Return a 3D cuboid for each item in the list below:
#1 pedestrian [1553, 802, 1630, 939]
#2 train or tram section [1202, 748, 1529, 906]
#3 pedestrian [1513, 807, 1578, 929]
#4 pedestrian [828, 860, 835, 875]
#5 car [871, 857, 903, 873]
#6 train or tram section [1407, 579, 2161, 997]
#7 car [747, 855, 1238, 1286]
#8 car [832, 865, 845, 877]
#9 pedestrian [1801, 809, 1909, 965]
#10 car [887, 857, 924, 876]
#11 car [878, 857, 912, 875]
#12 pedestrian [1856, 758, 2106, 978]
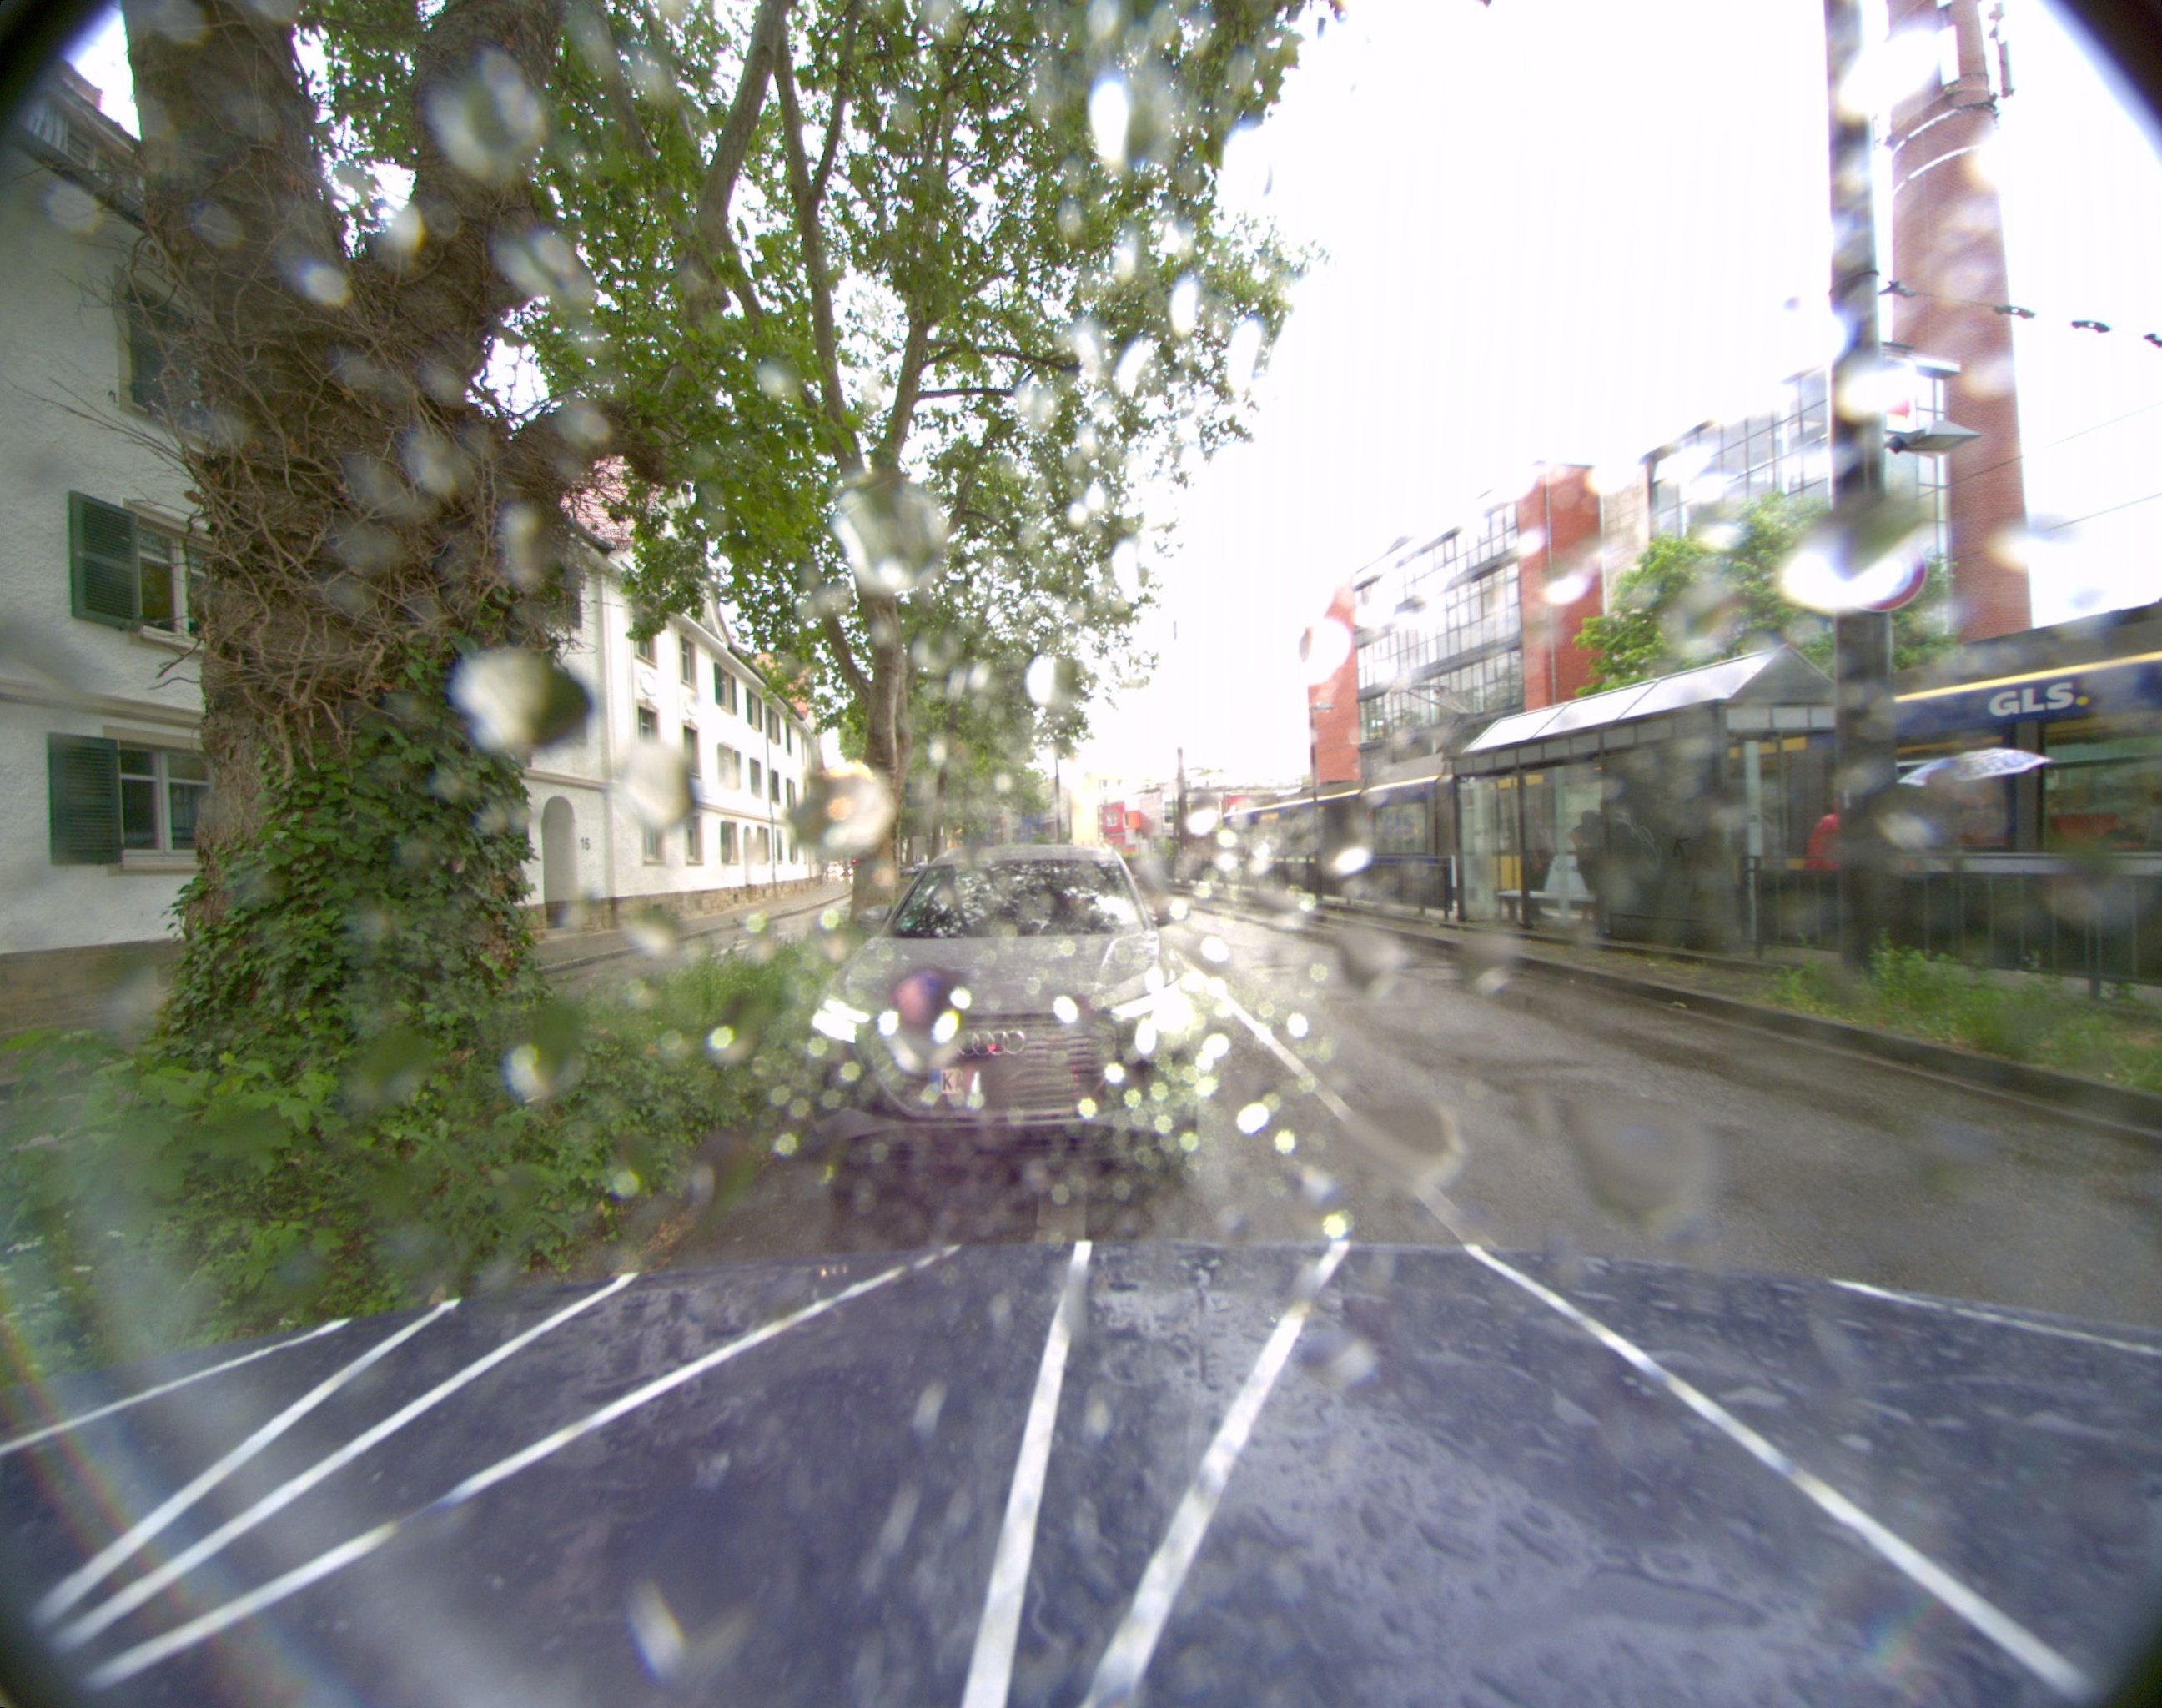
[{"bbox_3d":[6.737,0.215,10.051,0.629,1.738,0.564,-2,1,9],"label":"pedestrian"},{"bbox_3d":[7.765,-0.637,24.947,2.869,3.525,15.361,-2,0,-8],"label":"train or tram section"},{"bbox_3d":[6.827,0.209,11.188,0.629,1.738,0.514,-2,1,9],"label":"pedestrian"},{"bbox_3d":[-30.550,1.594,92.945,0.674,1.811,0.678,-3,1,-18],"label":"pedestrian"},{"bbox_3d":[-26.663,1.543,104.369,4.002,2.002,1.997,-2,0,-17],"label":"car"},{"bbox_3d":[9.910,-0.600,10.510,2.869,3.525,13.704,-2,0,-9],"label":"train or tram section"},{"bbox_3d":[-0.409,0.871,5.126,1.917,1.632,4.106,-2,0,-2],"label":"car"},{"bbox_3d":[-50.528,3.531,158.161,2.199,2.250,5.402,-3,0,-22],"label":"car"},{"bbox_3d":[8.224,0.345,8.078,0.799,1.562,0.658,1,-2,-36],"label":"pedestrian"},{"bbox_3d":[-20.233,1.471,87.571,4.002,2.002,1.997,-2,0,-17],"label":"car"},{"bbox_3d":[-23.205,1.507,94.665,4.002,2.002,1.997,-2,0,-17],"label":"car"},{"bbox_3d":[8.081,0.132,6.885,0.986,1.815,1.076,0,-2,-10],"label":"pedestrian"}]
